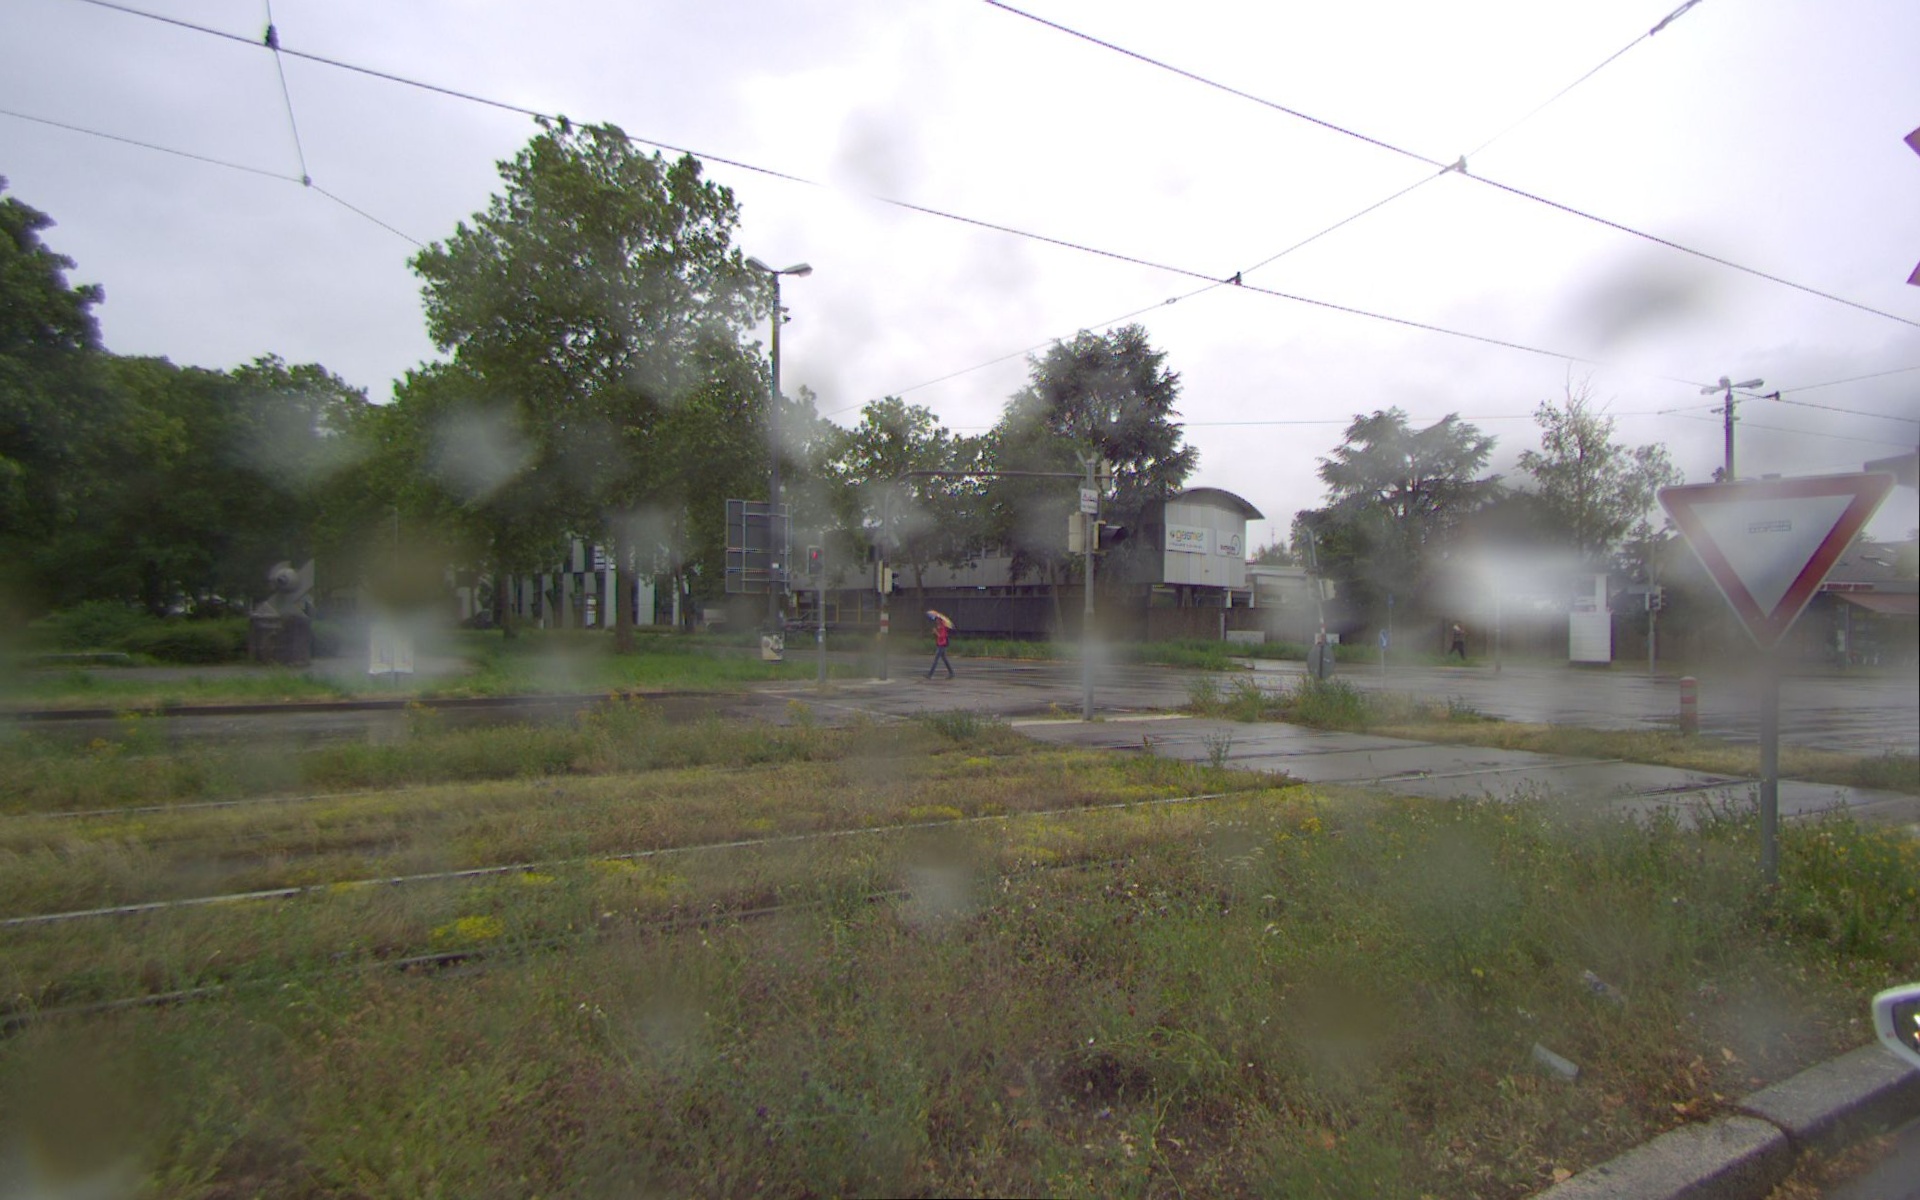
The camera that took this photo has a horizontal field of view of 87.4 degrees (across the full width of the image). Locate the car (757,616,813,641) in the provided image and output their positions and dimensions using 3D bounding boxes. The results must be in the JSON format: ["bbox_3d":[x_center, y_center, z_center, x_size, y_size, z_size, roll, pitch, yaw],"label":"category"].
[{"bbox_3d":[-11.130,1.815,63.647,1.679,1.417,4.087,2,0,-39],"label":"car"}]

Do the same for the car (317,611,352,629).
[{"bbox_3d":[-75.242,2.397,120.824,3.932,2.116,2.123,2,0,33],"label":"car"}]

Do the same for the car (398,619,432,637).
[{"bbox_3d":[-59.782,3.016,110.236,3.940,1.806,1.990,2,0,41],"label":"car"}]

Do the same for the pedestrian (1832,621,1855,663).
[{"bbox_3d":[43.003,2.037,48.899,0.714,2.040,0.791,2,0,38],"label":"pedestrian"}]

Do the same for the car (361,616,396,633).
[{"bbox_3d":[-65.902,2.790,113.858,3.934,1.806,1.993,2,0,36],"label":"car"}]

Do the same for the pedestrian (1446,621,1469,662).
[{"bbox_3d":[22.705,1.886,45.833,0.870,1.821,0.726,2,1,26],"label":"pedestrian"}]

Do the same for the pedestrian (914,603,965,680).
[{"bbox_3d":[-0.572,1.120,27.425,0.998,2.017,0.945,2,0,-34],"label":"pedestrian"}]
